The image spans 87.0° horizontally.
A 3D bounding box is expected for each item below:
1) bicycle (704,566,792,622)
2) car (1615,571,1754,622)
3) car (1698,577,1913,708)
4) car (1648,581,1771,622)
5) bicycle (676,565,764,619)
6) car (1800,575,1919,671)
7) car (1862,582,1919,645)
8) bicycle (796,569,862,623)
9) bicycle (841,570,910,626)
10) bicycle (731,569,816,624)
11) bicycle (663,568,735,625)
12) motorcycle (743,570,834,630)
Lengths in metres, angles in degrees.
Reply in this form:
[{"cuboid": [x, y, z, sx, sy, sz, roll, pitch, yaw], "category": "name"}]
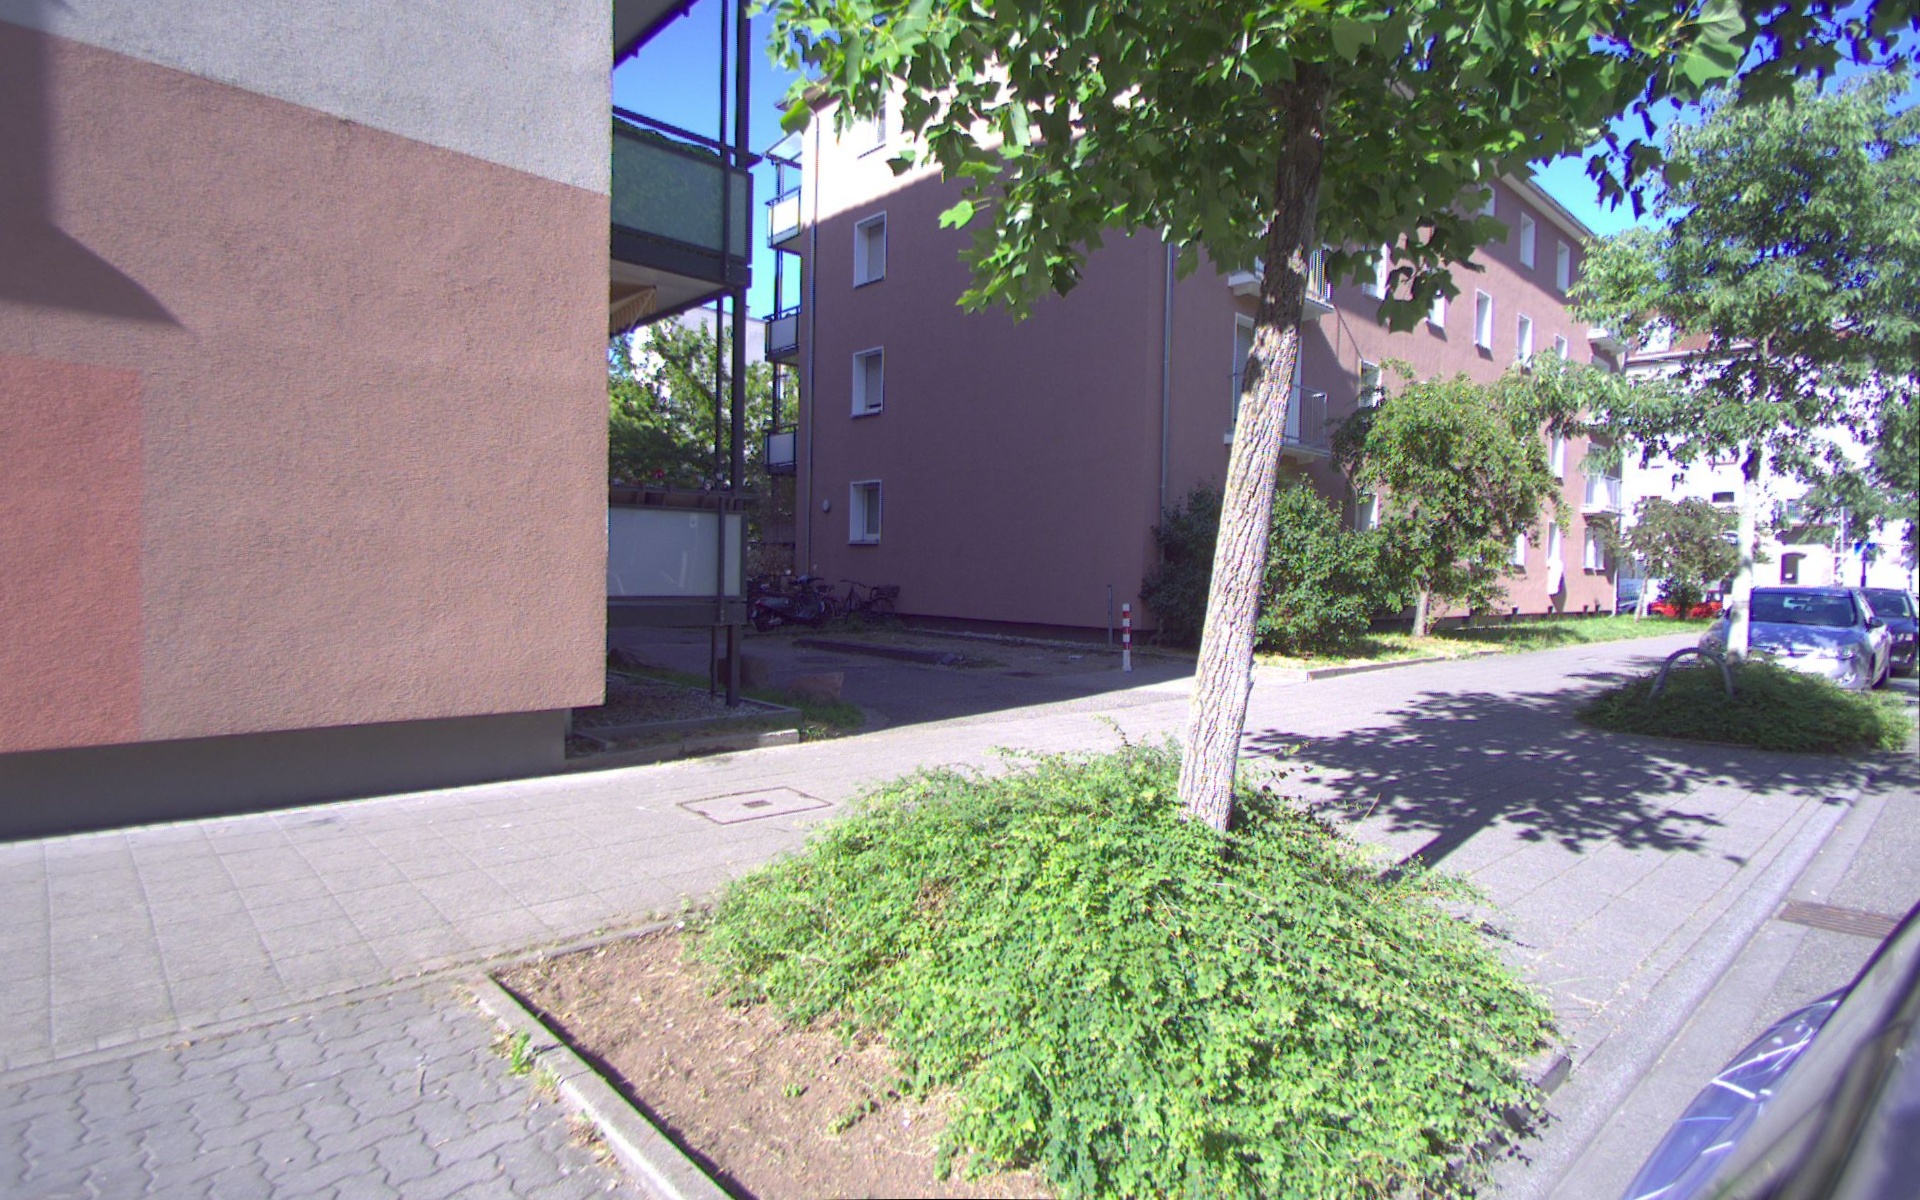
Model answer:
[{"cuboid": [-4.616, -0.136, 22.100, 1.848, 1.166, 0.577, 0, 2, -42], "category": "bicycle"}, {"cuboid": [31.745, -0.206, 44.451, 4.743, 2.038, 1.969, 3, 2, 43], "category": "car"}, {"cuboid": [11.615, 0.454, 13.818, 3.933, 1.471, 1.719, -1, 3, -43], "category": "car"}, {"cuboid": [29.194, 0.027, 39.484, 1.541, 1.419, 3.644, 0, 2, -42], "category": "car"}, {"cuboid": [-5.359, -0.182, 22.660, 1.848, 1.166, 0.577, 0, 2, -42], "category": "bicycle"}, {"cuboid": [16.342, 0.338, 17.948, 4.238, 1.500, 1.660, 0, 2, -43], "category": "car"}, {"cuboid": [23.737, 0.298, 25.028, 3.932, 1.446, 1.734, 0, 2, -42], "category": "car"}, {"cuboid": [-2.907, -0.104, 22.349, 0.548, 1.112, 1.716, 0, 2, -43], "category": "bicycle"}, {"cuboid": [-1.779, -0.058, 21.139, 0.584, 1.112, 1.537, 0, 2, -43], "category": "bicycle"}, {"cuboid": [-3.939, -0.082, 21.467, 1.741, 1.120, 0.567, 0, 2, -42], "category": "bicycle"}, {"cuboid": [-5.434, -0.093, 21.020, 1.711, 1.112, 0.549, 2, 2, 39], "category": "bicycle"}, {"cuboid": [-3.329, -0.016, 19.741, 1.741, 1.120, 0.526, 0, 2, -42], "category": "motorcycle"}]
